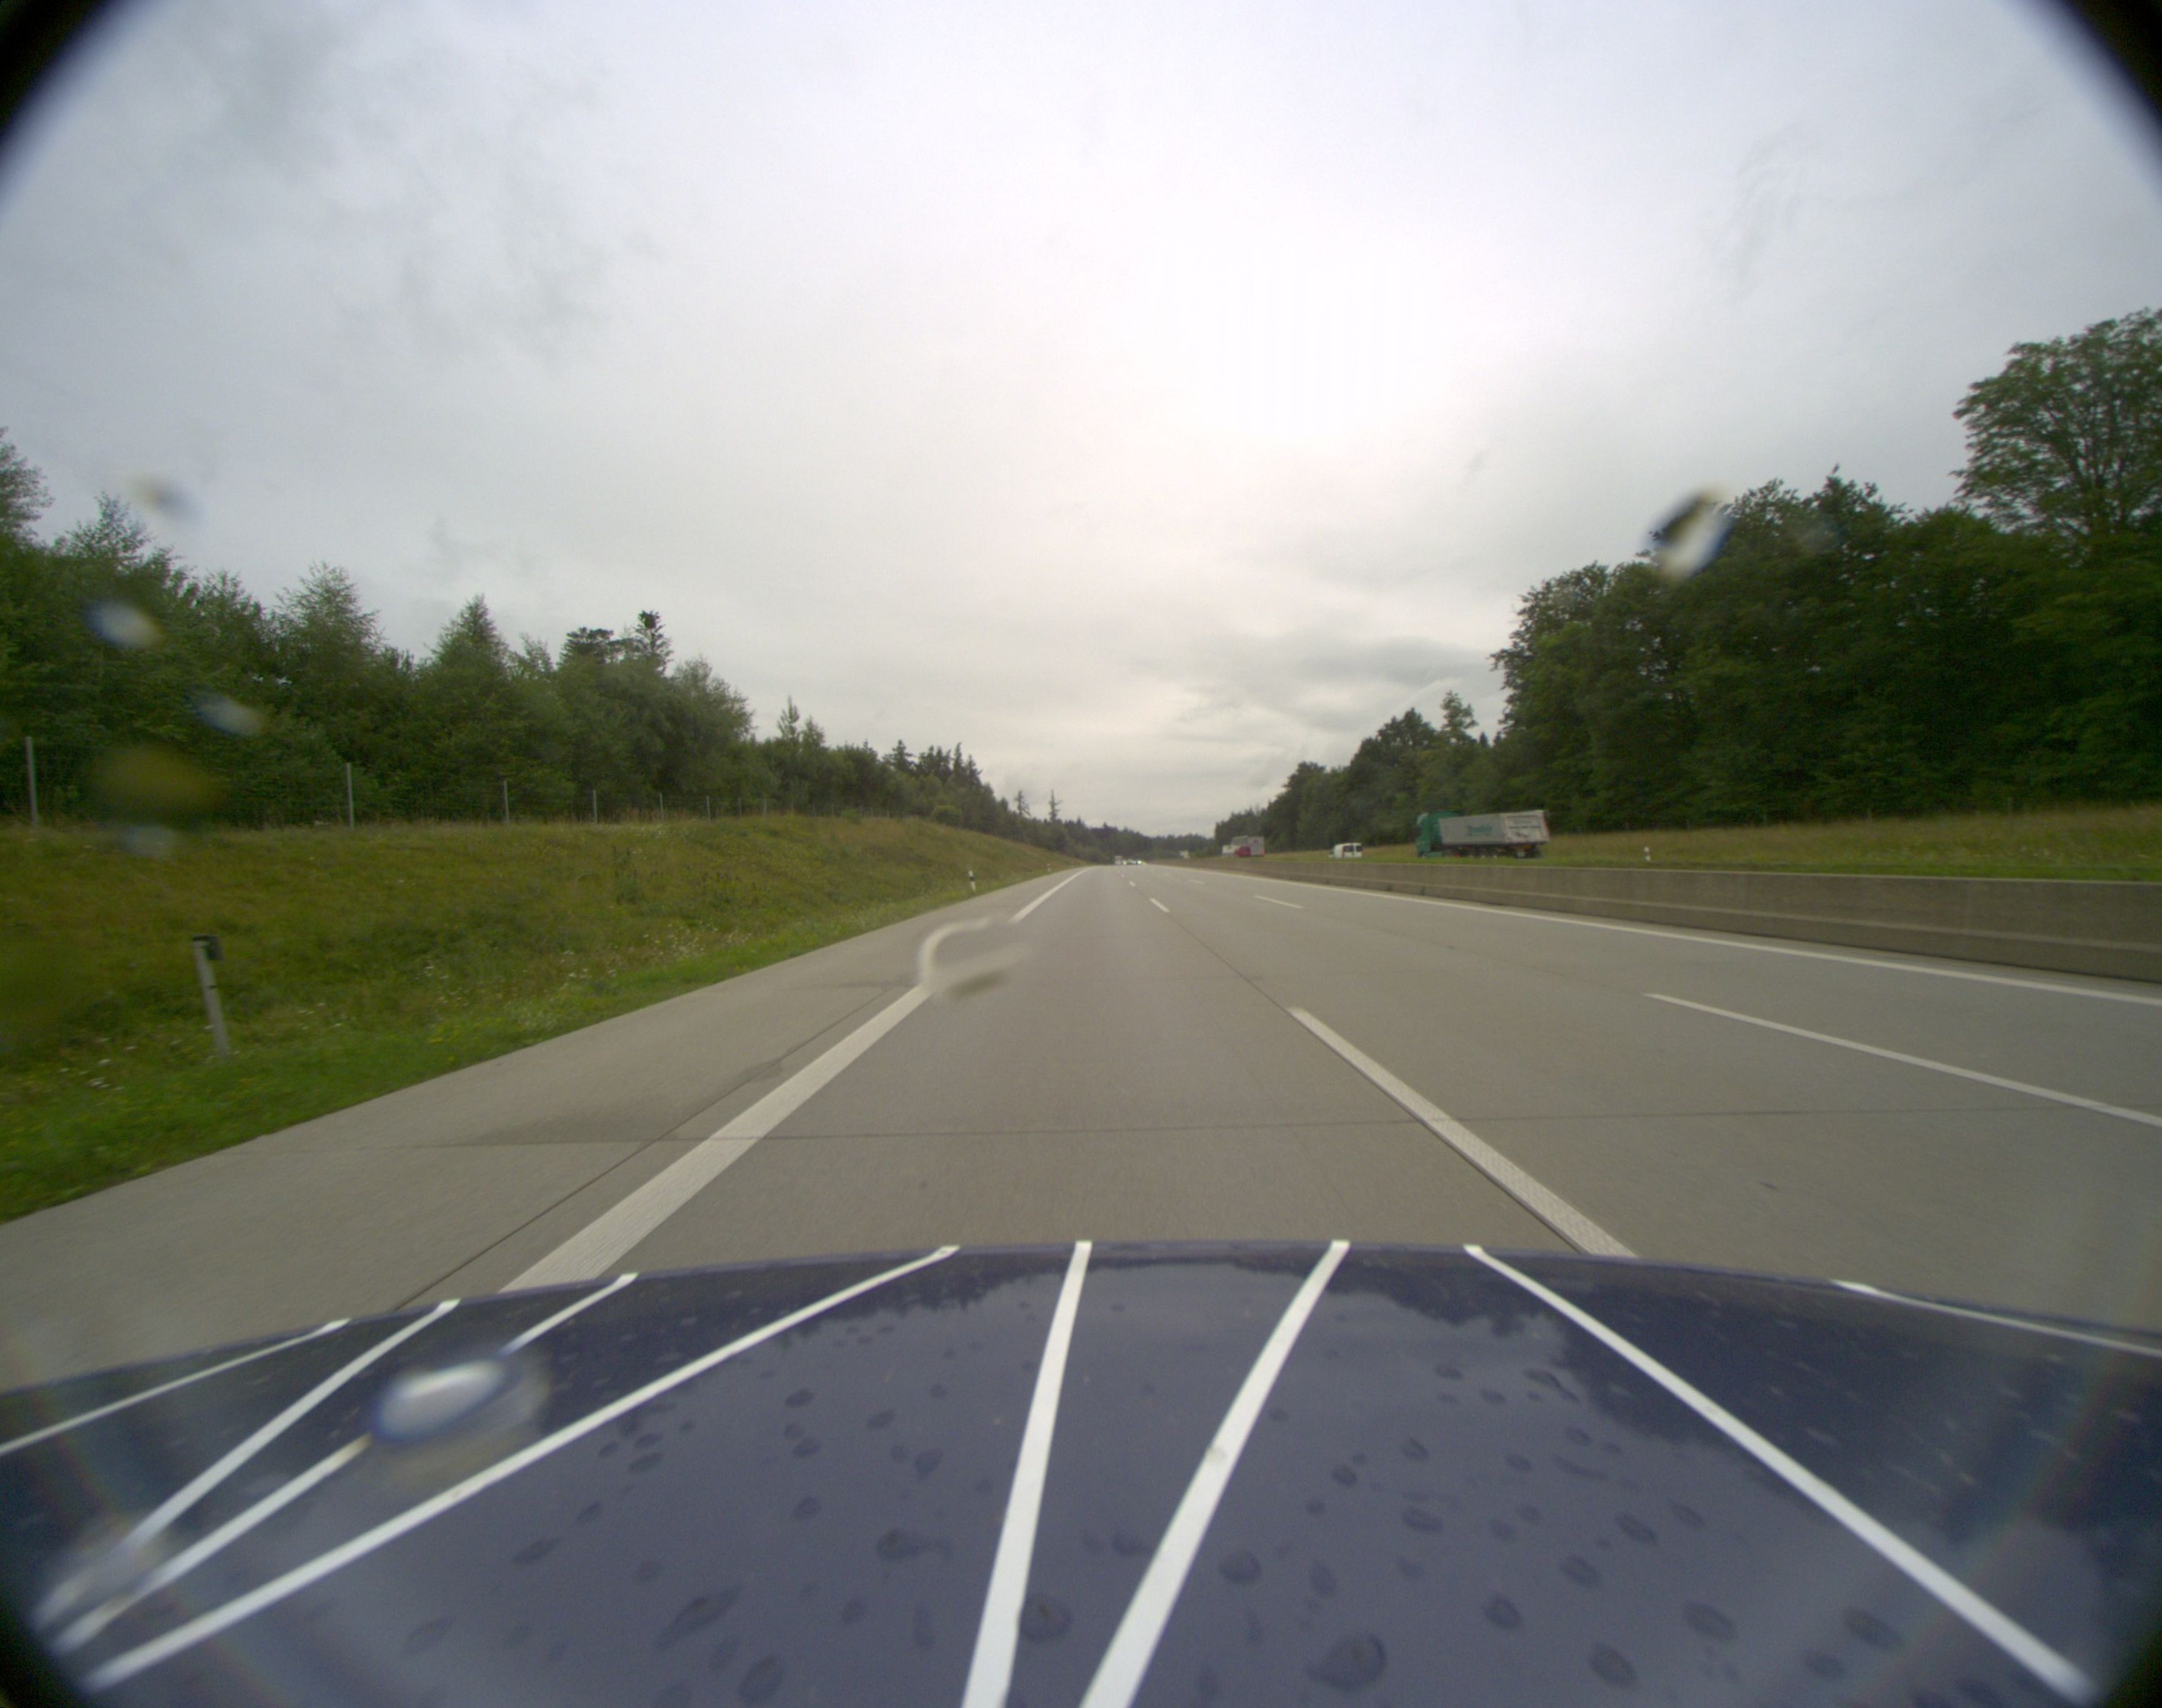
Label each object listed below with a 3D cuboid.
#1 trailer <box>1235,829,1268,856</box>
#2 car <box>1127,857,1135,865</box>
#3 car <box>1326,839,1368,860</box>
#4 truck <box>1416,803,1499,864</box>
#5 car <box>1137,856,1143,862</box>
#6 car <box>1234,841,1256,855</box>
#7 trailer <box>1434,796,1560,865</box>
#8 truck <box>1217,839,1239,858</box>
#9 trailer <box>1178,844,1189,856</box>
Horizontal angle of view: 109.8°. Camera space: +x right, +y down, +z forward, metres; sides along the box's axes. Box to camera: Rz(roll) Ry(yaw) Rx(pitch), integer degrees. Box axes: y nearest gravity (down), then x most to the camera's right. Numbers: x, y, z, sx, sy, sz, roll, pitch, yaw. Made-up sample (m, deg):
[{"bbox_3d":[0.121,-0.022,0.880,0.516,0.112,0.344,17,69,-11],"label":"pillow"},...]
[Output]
[{"bbox_3d":[27.419,-1.803,122.713,2.504,4.079,13.976,-2,0,2],"label":"trailer"},{"bbox_3d":[14.787,2.146,224.583,2.213,2.001,4.836,-3,-2,1],"label":"car"},{"bbox_3d":[20.962,-0.349,60.088,1.784,1.590,4.561,-2,0,2],"label":"car"},{"bbox_3d":[25.139,-1.300,51.052,2.787,3.718,5.660,-2,0,1],"label":"truck"},{"bbox_3d":[19.010,1.629,244.458,1.764,1.871,4.000,-2,0,0],"label":"car"},{"bbox_3d":[22.405,-0.823,103.911,1.998,1.871,5.314,-2,0,3],"label":"car"},{"bbox_3d":[25.030,-1.300,46.433,2.811,3.678,9.013,-2,0,1],"label":"trailer"},{"bbox_3d":[22.552,-0.836,116.817,2.273,2.772,6.512,-2,0,3],"label":"truck"},{"bbox_3d":[35.414,-1.230,263.028,2.817,3.996,13.992,-2,0,4],"label":"trailer"}]
